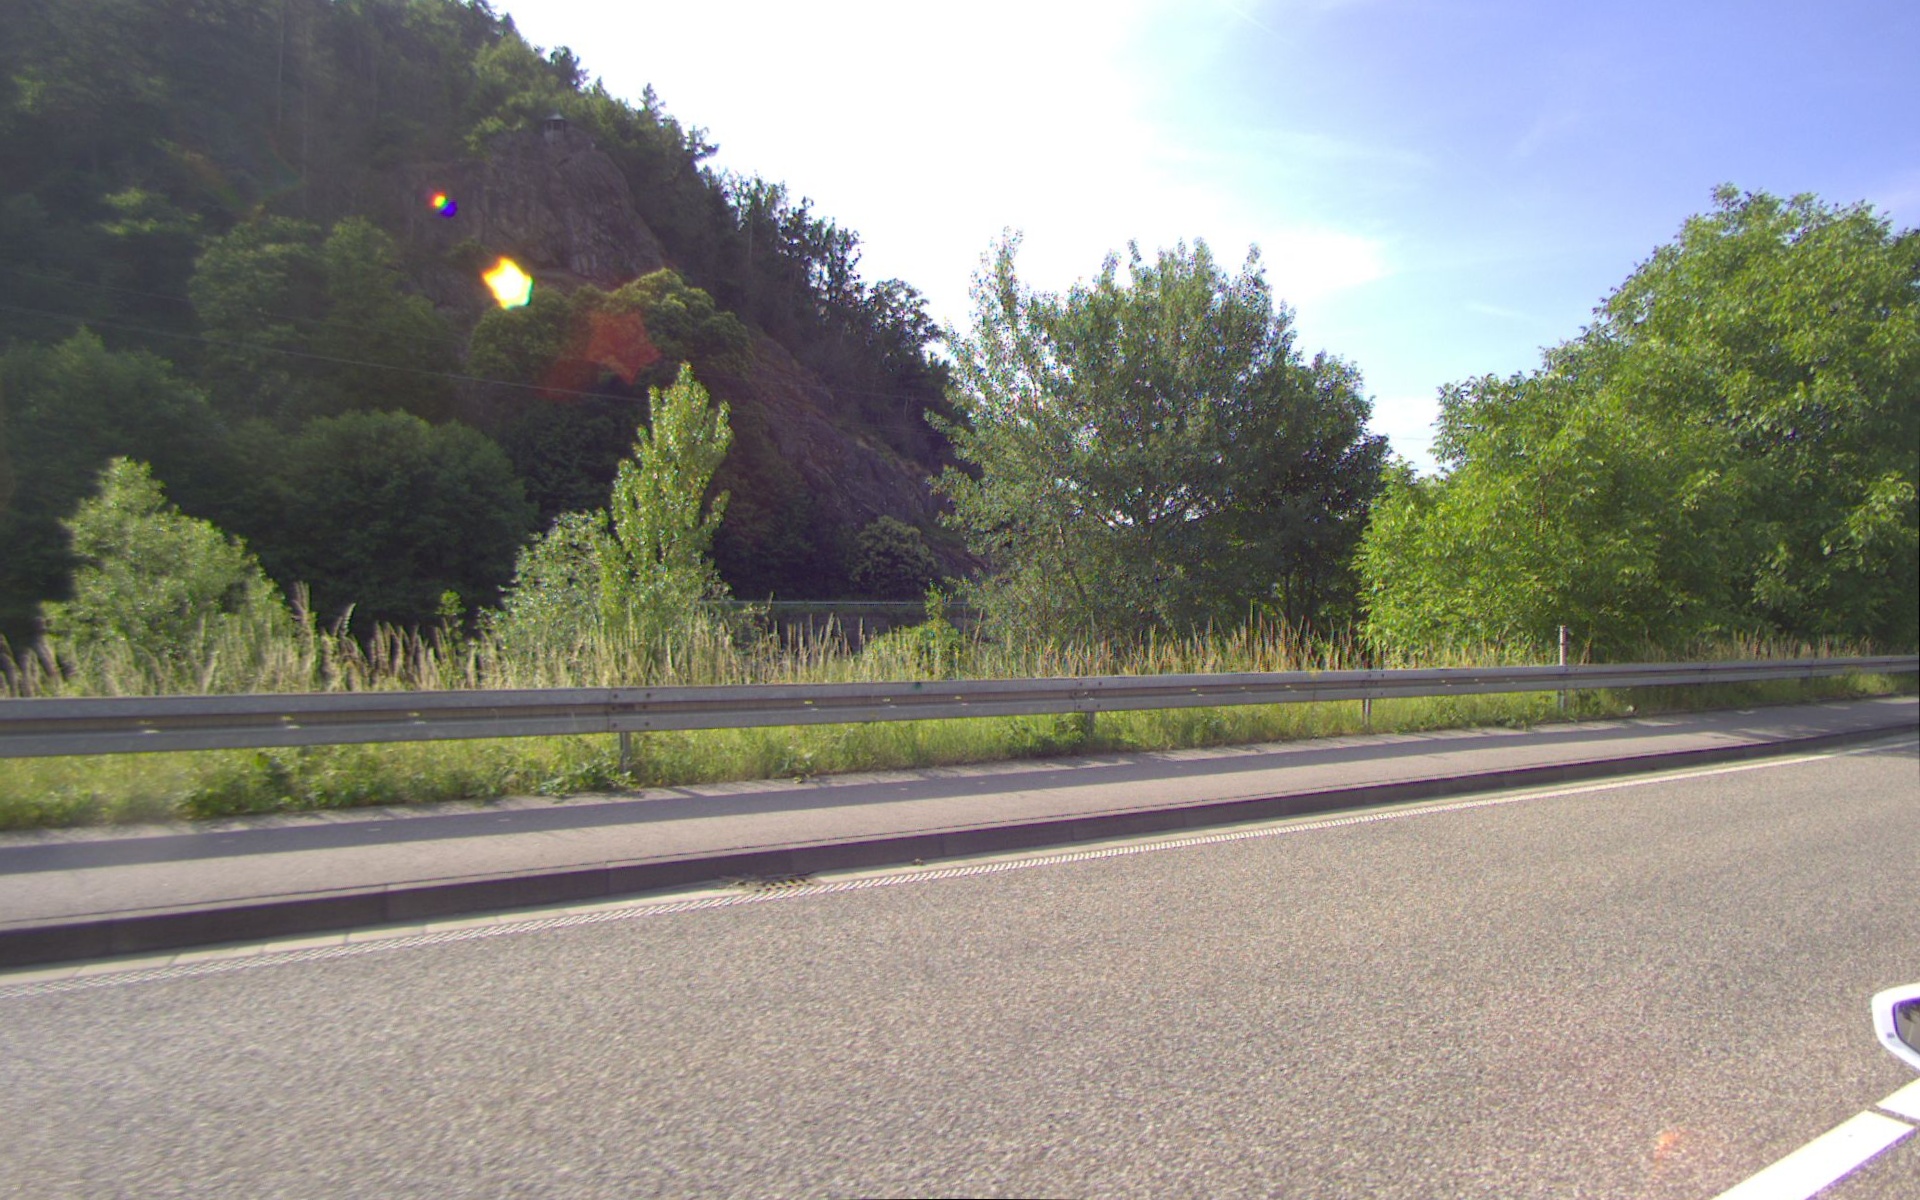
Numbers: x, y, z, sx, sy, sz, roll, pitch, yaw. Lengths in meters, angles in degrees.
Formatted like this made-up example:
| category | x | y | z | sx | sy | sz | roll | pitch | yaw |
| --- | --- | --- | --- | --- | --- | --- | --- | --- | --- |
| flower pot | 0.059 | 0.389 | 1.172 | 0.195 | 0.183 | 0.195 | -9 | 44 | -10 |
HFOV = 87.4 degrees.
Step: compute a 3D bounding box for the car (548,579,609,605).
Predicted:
| category | x | y | z | sx | sy | sz | roll | pitch | yaw |
| --- | --- | --- | --- | --- | --- | --- | --- | --- | --- |
| car | -29.151 | -0.571 | 76.801 | 3.960 | 1.756 | 1.858 | 2 | 3 | -35 |
